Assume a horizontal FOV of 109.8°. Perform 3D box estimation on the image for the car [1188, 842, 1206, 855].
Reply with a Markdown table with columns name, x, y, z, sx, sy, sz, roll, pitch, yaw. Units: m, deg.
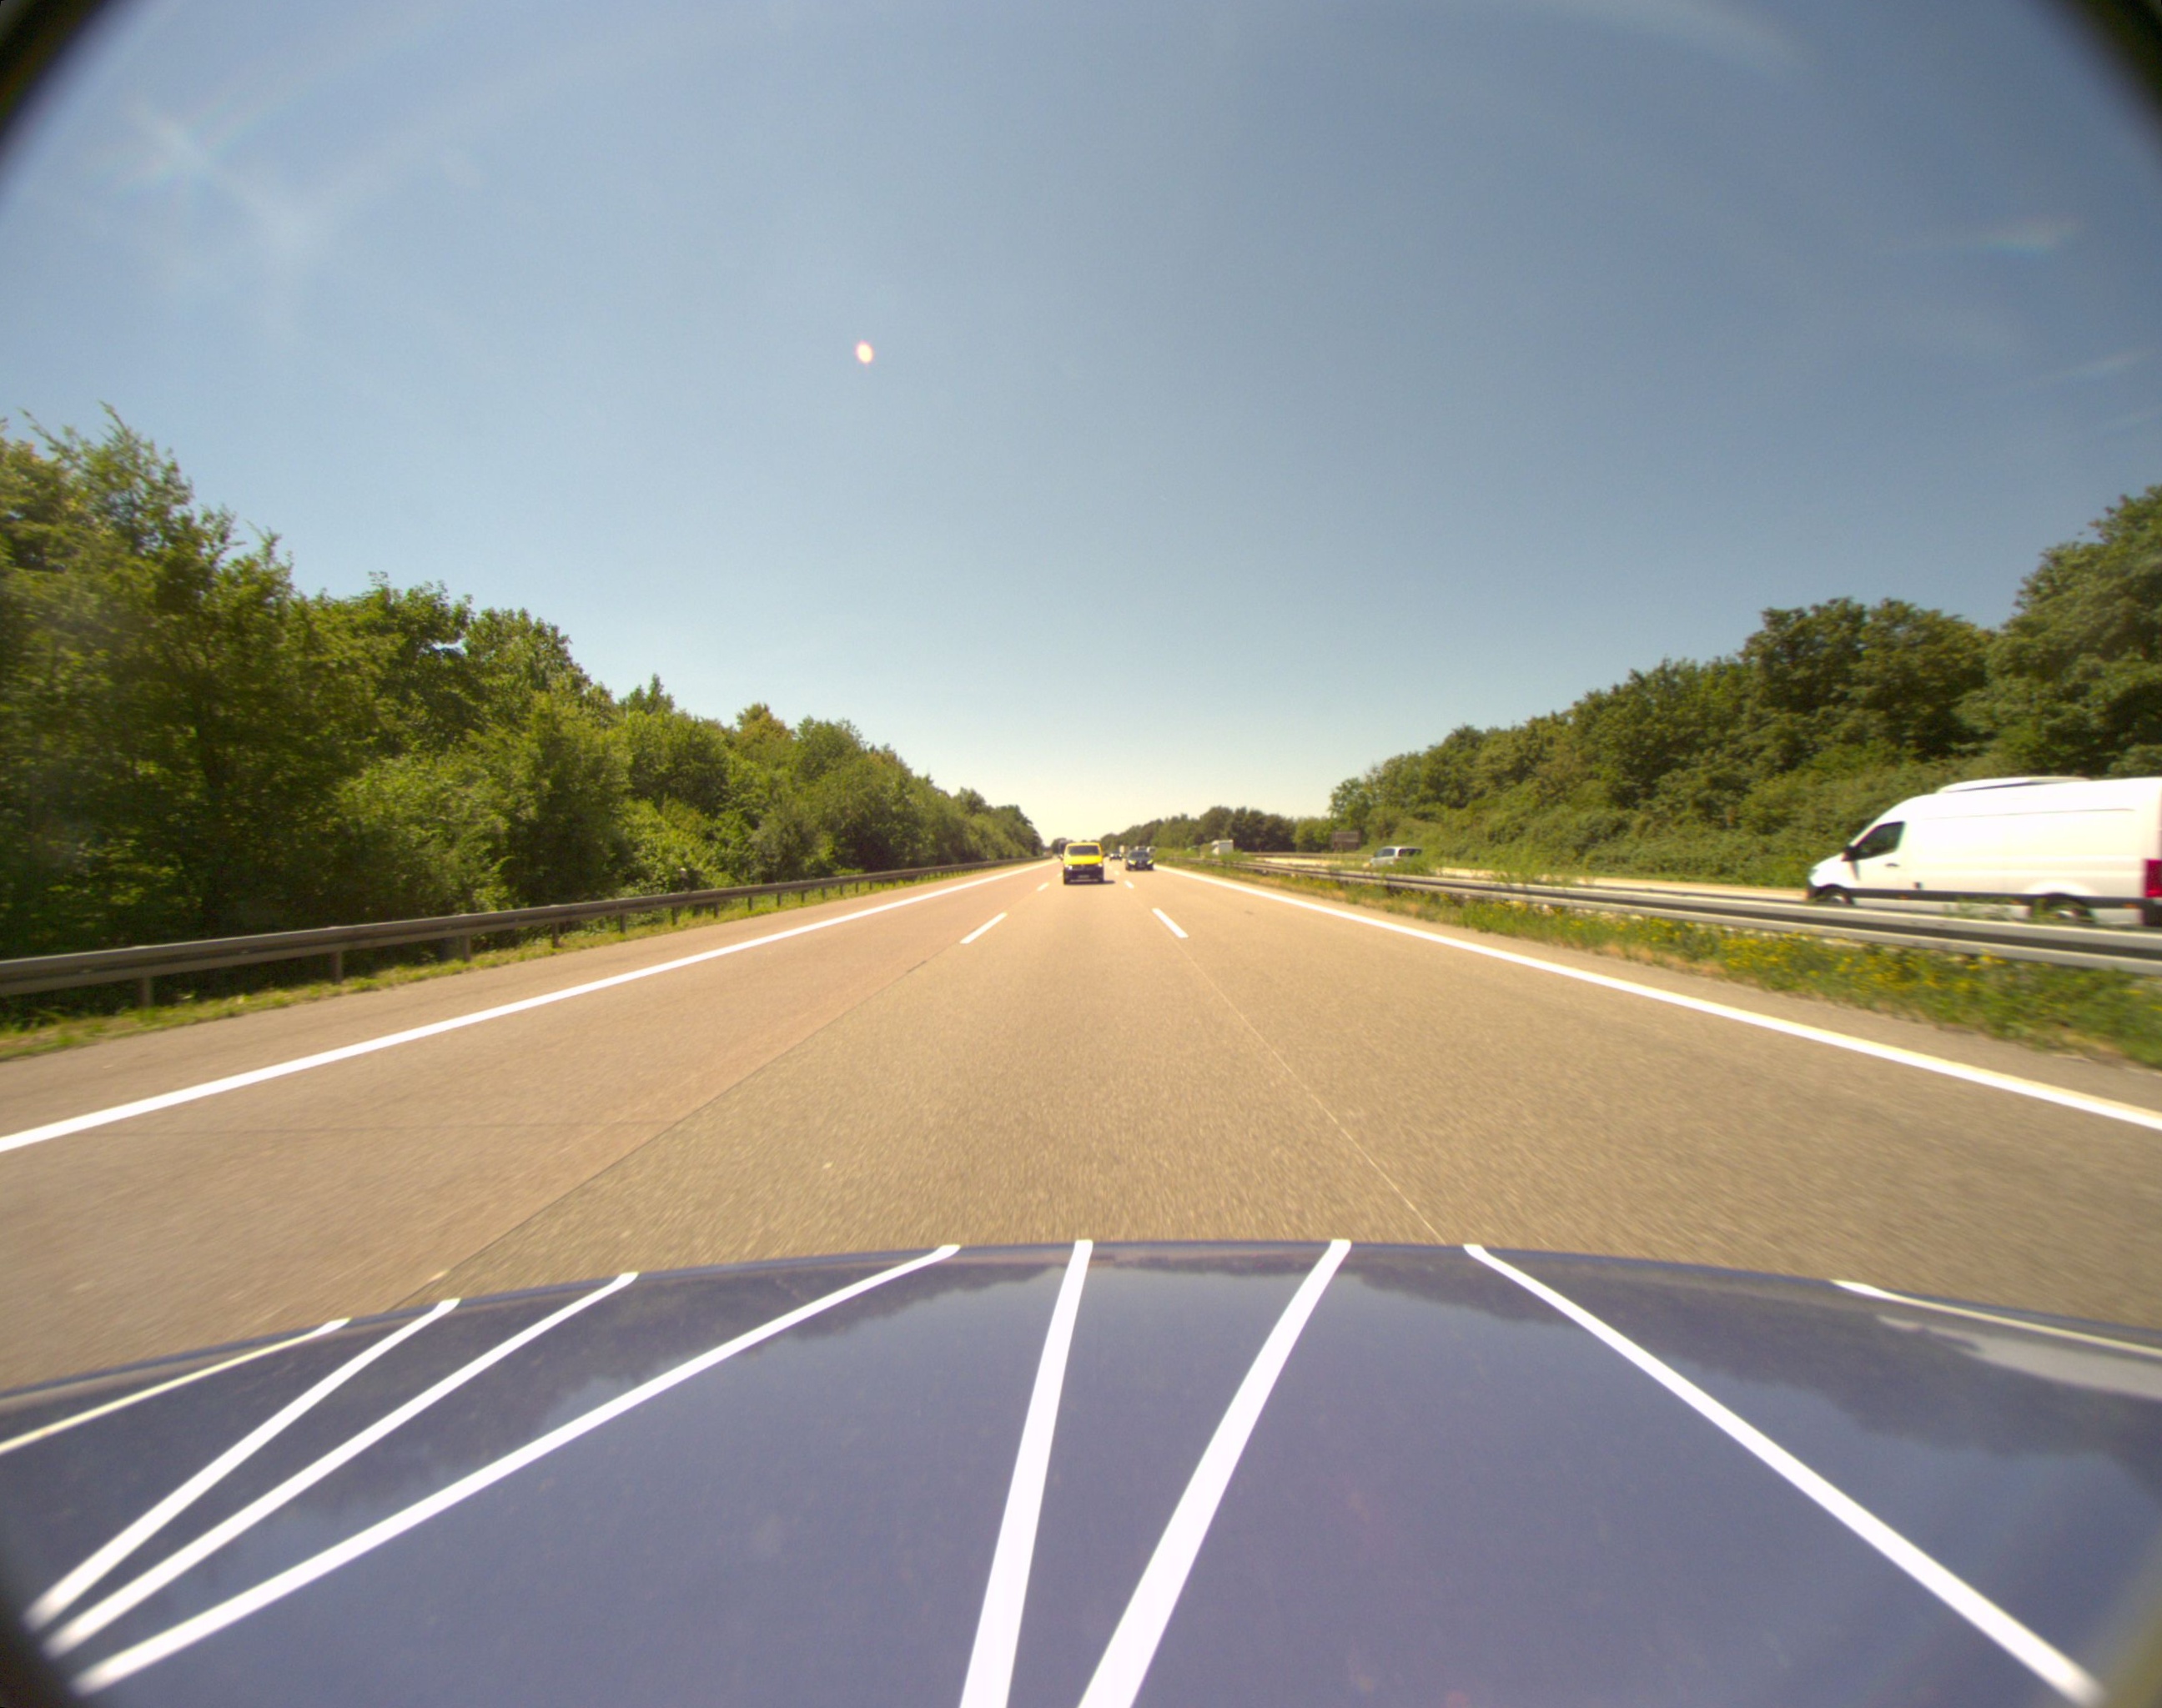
| name | x | y | z | sx | sy | sz | roll | pitch | yaw |
| --- | --- | --- | --- | --- | --- | --- | --- | --- | --- |
| car | 20.601 | -1.035 | 135.243 | 2.288 | 2.174 | 5.945 | -1 | 1 | 1 |

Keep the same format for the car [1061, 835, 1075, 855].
| name | x | y | z | sx | sy | sz | roll | pitch | yaw |
| --- | --- | --- | --- | --- | --- | --- | --- | --- | --- |
| car | -2.568 | -1.750 | 149.671 | 2.298 | 3.886 | 9.268 | 1 | 1 | 1 |

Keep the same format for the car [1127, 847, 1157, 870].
| name | x | y | z | sx | sy | sz | roll | pitch | yaw |
| --- | --- | --- | --- | --- | --- | --- | --- | --- | --- |
| car | 4.382 | 0.296 | 55.254 | 1.894 | 1.541 | 4.039 | 1 | 1 | 1 |

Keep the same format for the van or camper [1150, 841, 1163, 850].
| name | x | y | z | sx | sy | sz | roll | pitch | yaw |
| --- | --- | --- | --- | --- | --- | --- | --- | --- | --- |
| van or camper | 19.509 | -2.113 | 196.867 | 2.612 | 2.174 | 6.746 | -1 | 1 | 1 |

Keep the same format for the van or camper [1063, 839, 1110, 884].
| name | x | y | z | sx | sy | sz | roll | pitch | yaw |
| --- | --- | --- | --- | --- | --- | --- | --- | --- | --- |
| van or camper | 0.346 | 0.309 | 37.180 | 2.063 | 1.992 | 5.884 | -1 | 1 | 2 |

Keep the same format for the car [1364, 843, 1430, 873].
| name | x | y | z | sx | sy | sz | roll | pitch | yaw |
| --- | --- | --- | --- | --- | --- | --- | --- | --- | --- |
| car | 17.069 | 0.190 | 41.261 | 1.746 | 1.499 | 4.415 | -2 | 1 | 1 |

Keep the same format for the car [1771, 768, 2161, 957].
| name | x | y | z | sx | sy | sz | roll | pitch | yaw |
| --- | --- | --- | --- | --- | --- | --- | --- | --- | --- |
| car | 16.672 | 0.099 | 13.892 | 2.041 | 2.731 | 6.657 | 1 | 1 | 1 |

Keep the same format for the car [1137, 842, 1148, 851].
| name | x | y | z | sx | sy | sz | roll | pitch | yaw |
| --- | --- | --- | --- | --- | --- | --- | --- | --- | --- |
| car | 14.589 | -1.805 | 180.863 | 2.237 | 2.174 | 6.385 | -1 | 1 | 1 |

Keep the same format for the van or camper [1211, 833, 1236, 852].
| name | x | y | z | sx | sy | sz | roll | pitch | yaw |
| --- | --- | --- | --- | --- | --- | --- | --- | --- | --- |
| van or camper | 22.288 | -1.784 | 119.420 | 2.612 | 2.985 | 7.755 | -1 | 1 | 1 |

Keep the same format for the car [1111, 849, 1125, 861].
| name | x | y | z | sx | sy | sz | roll | pitch | yaw |
| --- | --- | --- | --- | --- | --- | --- | --- | --- | --- |
| car | 5.442 | 0.128 | 111.324 | 1.894 | 1.541 | 4.039 | 1 | 1 | 1 |
